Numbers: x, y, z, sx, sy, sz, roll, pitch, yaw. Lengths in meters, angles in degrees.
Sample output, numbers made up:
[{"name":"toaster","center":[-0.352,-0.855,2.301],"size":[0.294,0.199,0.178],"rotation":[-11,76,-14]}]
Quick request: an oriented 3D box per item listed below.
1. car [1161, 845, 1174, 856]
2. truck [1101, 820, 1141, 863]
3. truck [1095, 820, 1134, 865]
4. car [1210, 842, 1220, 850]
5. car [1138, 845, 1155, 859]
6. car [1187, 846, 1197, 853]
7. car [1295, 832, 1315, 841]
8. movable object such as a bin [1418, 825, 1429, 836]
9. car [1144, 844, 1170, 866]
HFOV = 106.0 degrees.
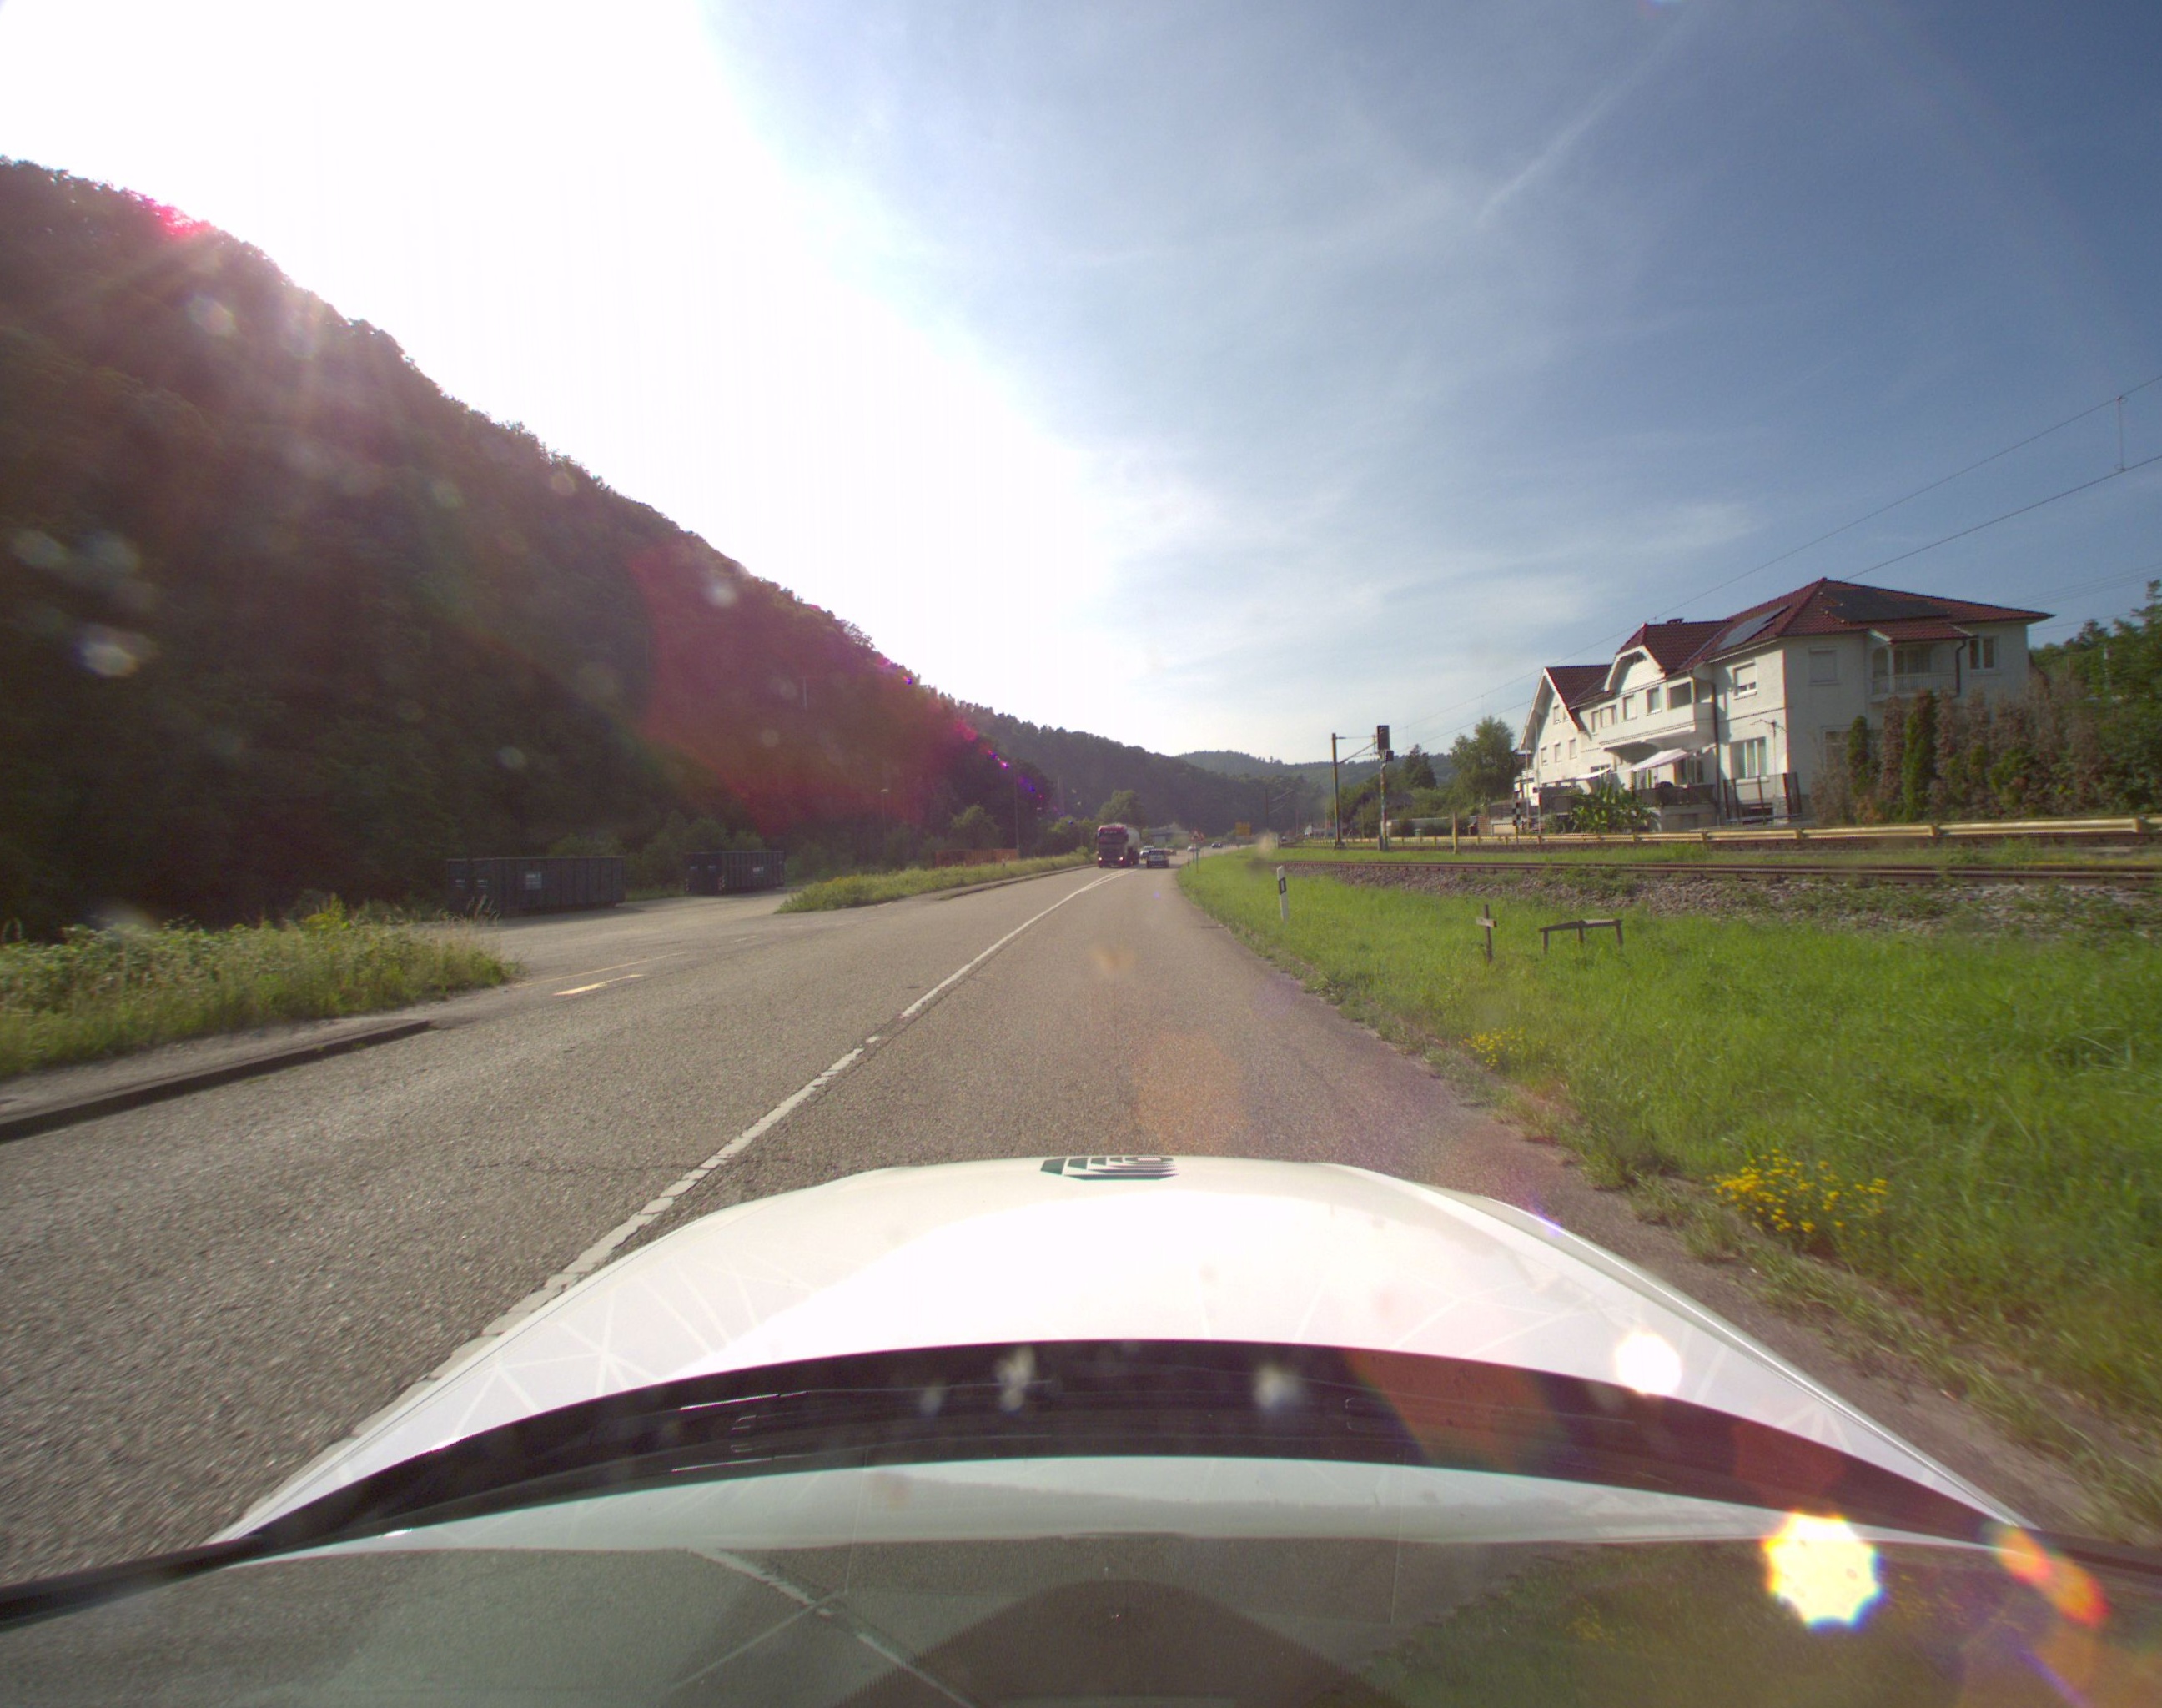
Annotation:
[{"name":"car","center":[13.346,-0.618,125.280],"size":[1.713,1.624,3.807],"rotation":[-1,1,10]},{"name":"truck","center":[4.110,-1.248,80.759],"size":[2.735,3.835,14.593],"rotation":[-1,1,7]},{"name":"truck","center":[3.153,-1.039,73.636],"size":[2.735,3.835,8.215],"rotation":[-1,0,7]},{"name":"car","center":[28.896,-1.722,175.599],"size":[1.835,1.585,4.330],"rotation":[-1,1,11]},{"name":"car","center":[8.458,-0.327,104.767],"size":[1.983,1.758,4.479],"rotation":[0,0,7]},{"name":"car","center":[20.532,-0.831,150.096],"size":[1.767,1.348,4.522],"rotation":[0,1,9]},{"name":"car","center":[64.820,-5.095,235.807],"size":[5.241,2.013,2.008],"rotation":[-4,0,13]},{"name":"movable object such as a bin","center":[32.596,-2.221,77.560],"size":[0.802,1.050,0.915],"rotation":[-1,1,11]},{"name":"car","center":[6.604,0.076,70.632],"size":[1.984,1.723,3.996],"rotation":[-4,0,6]}]
